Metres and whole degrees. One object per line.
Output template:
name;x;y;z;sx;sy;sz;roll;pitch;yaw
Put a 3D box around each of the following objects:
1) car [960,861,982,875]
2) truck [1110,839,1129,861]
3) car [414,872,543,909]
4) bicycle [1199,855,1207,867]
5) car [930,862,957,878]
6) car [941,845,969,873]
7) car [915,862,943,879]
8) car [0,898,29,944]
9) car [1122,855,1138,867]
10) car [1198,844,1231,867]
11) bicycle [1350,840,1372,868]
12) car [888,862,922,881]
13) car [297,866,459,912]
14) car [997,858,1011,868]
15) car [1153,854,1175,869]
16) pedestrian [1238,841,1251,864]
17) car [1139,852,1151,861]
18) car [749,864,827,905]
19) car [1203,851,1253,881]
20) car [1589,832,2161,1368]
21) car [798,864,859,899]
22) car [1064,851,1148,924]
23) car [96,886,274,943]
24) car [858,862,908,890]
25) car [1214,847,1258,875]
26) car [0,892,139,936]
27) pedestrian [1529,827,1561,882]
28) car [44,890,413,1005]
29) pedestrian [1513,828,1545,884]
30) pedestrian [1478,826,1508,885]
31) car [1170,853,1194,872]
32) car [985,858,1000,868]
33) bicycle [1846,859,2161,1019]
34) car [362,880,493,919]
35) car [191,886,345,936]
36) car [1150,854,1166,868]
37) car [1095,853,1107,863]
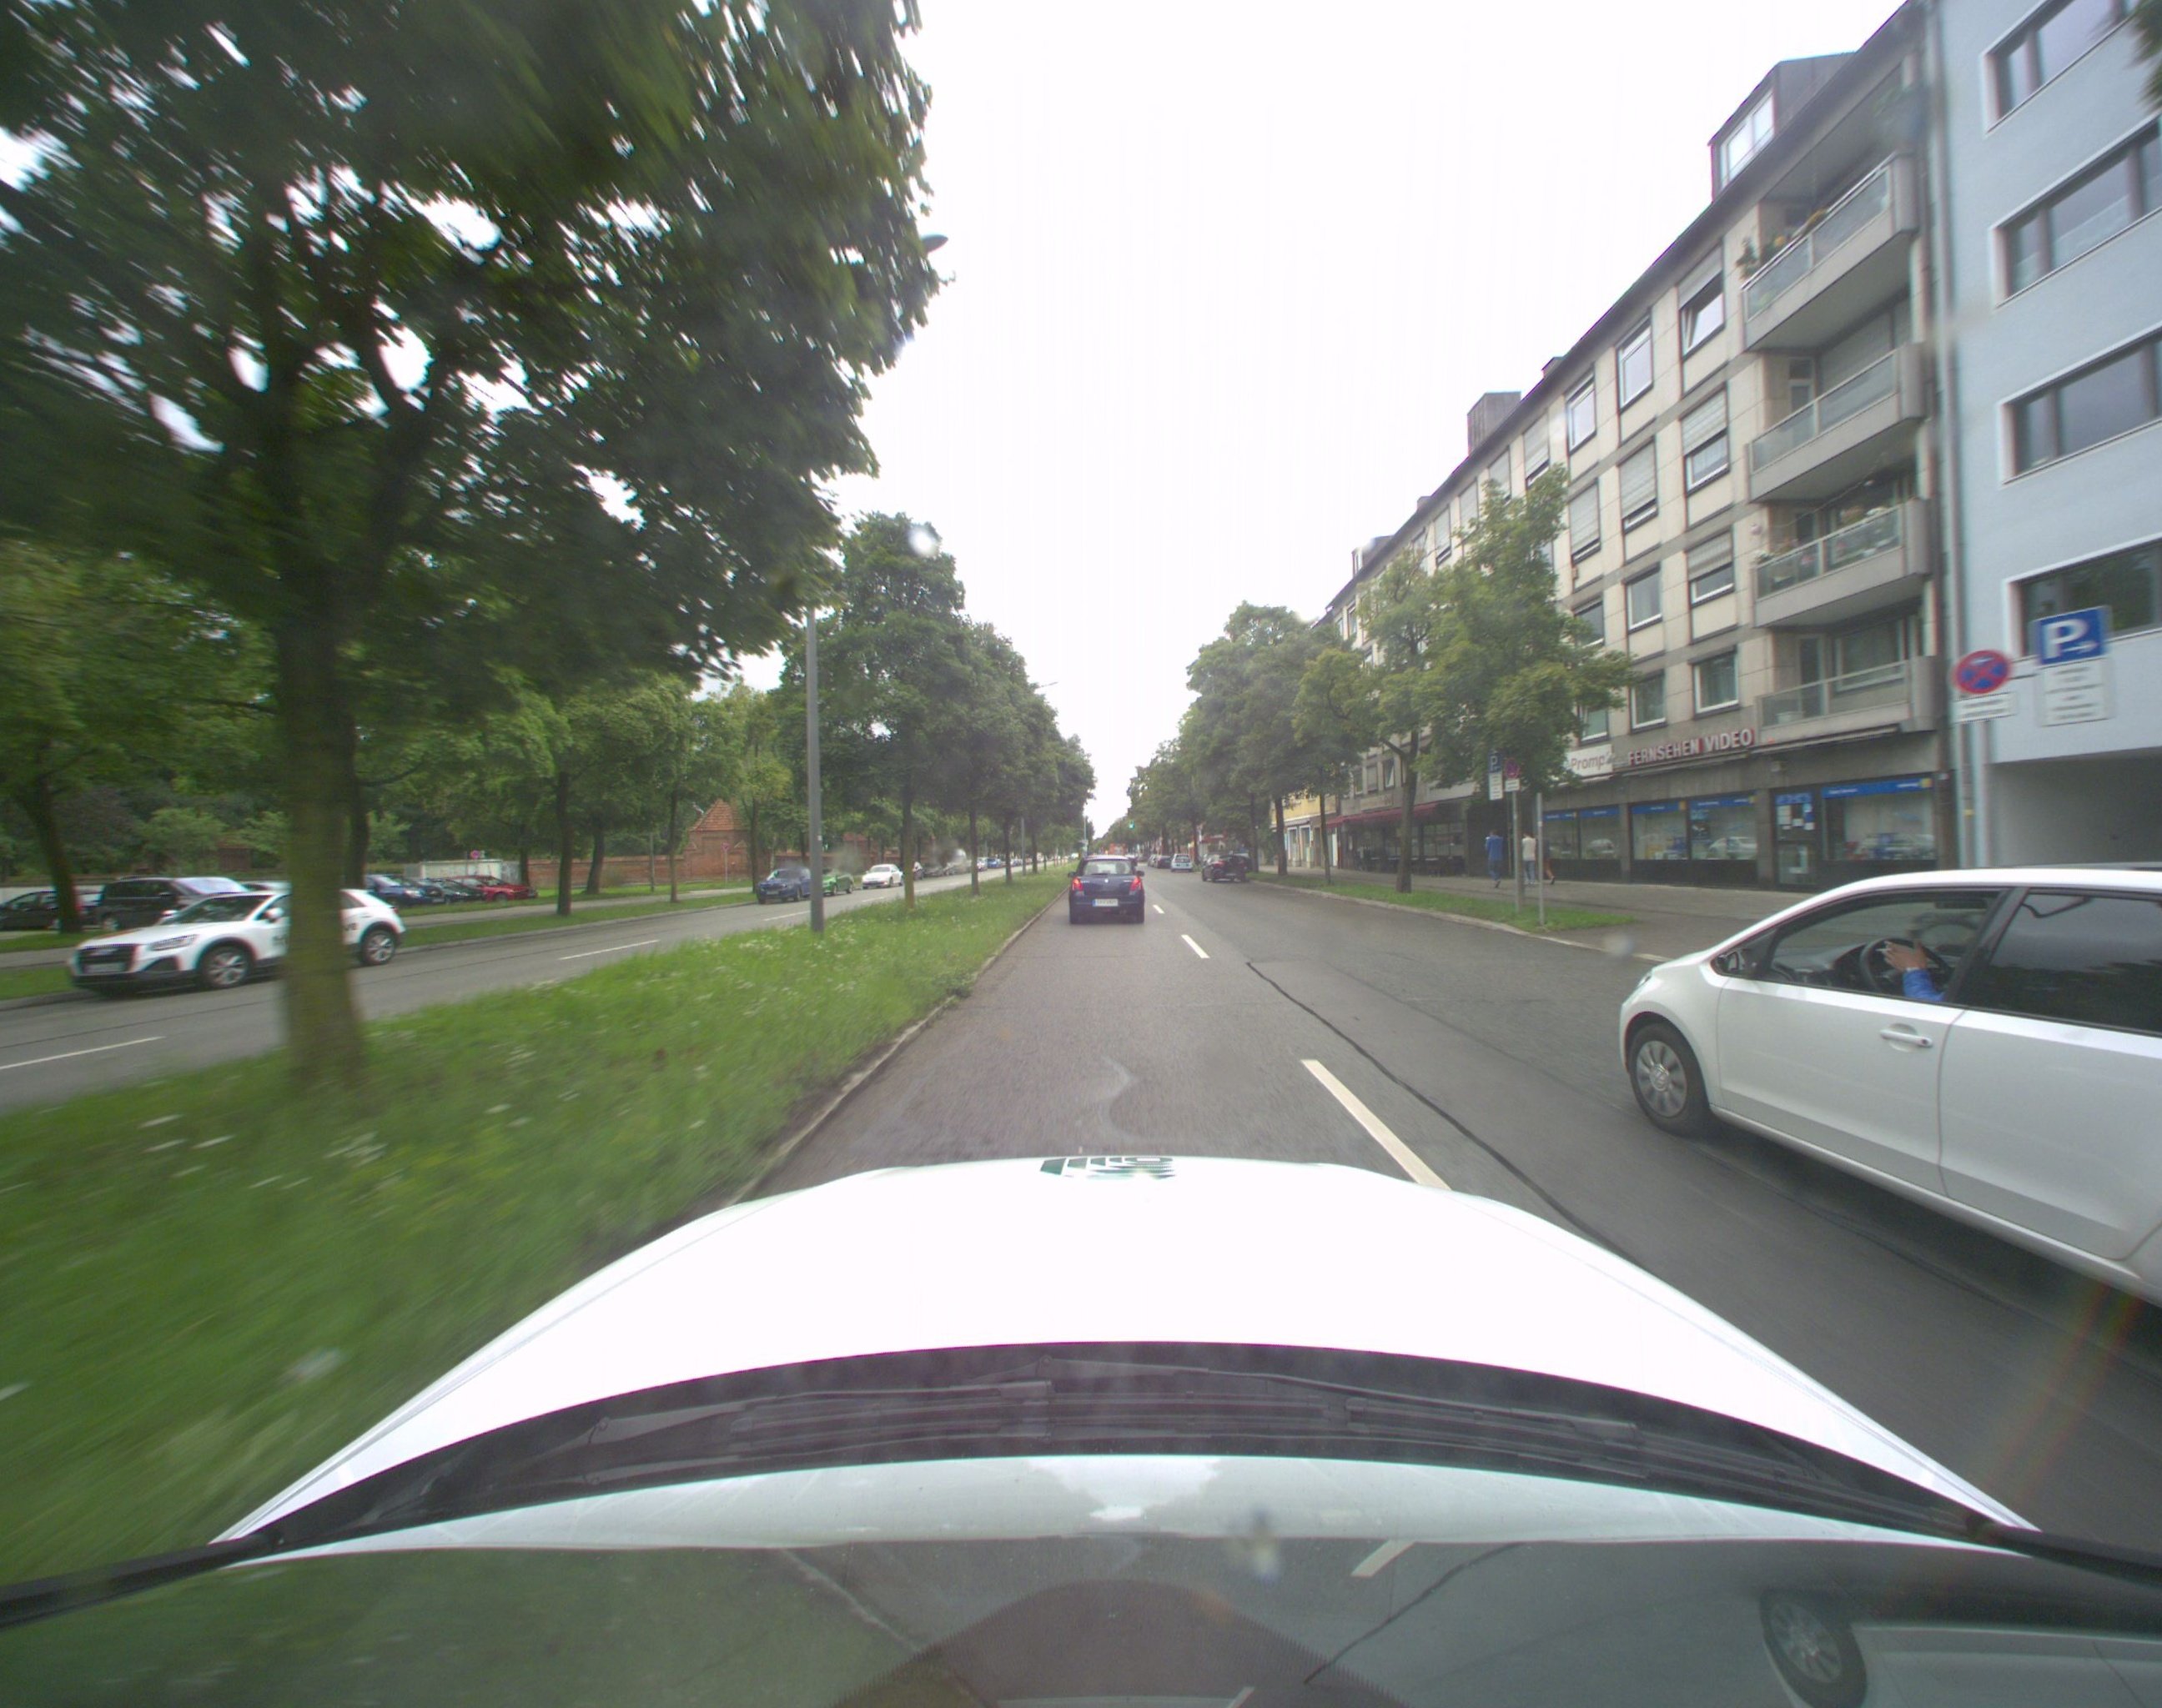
car;-13.718;1.721;101.957;2.179;1.736;4.576;-1;0;-1
truck;6.638;-0.652;140.828;3.029;3.557;13.682;-1;0;2
car;-26.782;1.610;36.273;4.397;1.392;1.760;-2;0;1
bicycle;10.166;0.601;67.940;0.446;0.980;1.799;-1;0;1
car;-14.067;1.609;83.535;1.807;1.536;4.819;-1;0;0
car;-13.937;0.540;90.295;2.179;2.953;6.188;-1;0;-1
car;-14.441;1.577;77.597;1.807;1.536;4.441;-1;0;0
car;-38.539;2.292;27.377;3.973;1.536;1.815;0;0;0
car;6.287;0.911;104.424;1.815;1.477;4.692;0;0;1
car;9.994;0.098;61.211;1.808;1.626;4.310;-3;0;2
bicycle;14.975;-0.015;43.581;0.578;1.463;1.689;-2;0;2
car;-14.657;1.440;67.995;1.807;1.536;4.298;-1;0;0
car;-26.569;1.305;30.894;4.334;1.505;2.000;-2;0;1
car;-13.114;1.571;138.891;1.795;1.534;4.001;-2;0;1
car;8.530;0.747;83.992;1.649;1.452;4.706;-2;0;-1
pedestrian;13.552;-0.151;67.545;0.790;1.855;0.776;-4;0;-2
car;11.742;0.433;150.055;1.986;1.530;4.001;-2;0;1
car;-13.095;1.329;36.663;1.881;1.537;4.313;-4;0;0
car;7.693;0.616;43.002;1.986;1.452;4.002;-2;0;2
car;3.870;0.676;3.209;1.680;1.490;3.436;0;0;2
car;-13.021;1.375;42.216;1.632;1.537;4.315;-4;0;1
car;0.617;0.714;19.388;1.746;1.505;4.002;-1;0;2
car;-27.451;1.837;24.992;3.958;1.505;2.008;-2;0;14
car;-12.685;1.392;52.394;1.753;1.537;4.319;-4;0;4
car;9.472;0.405;50.129;1.986;1.643;4.334;-2;0;2
car;-39.008;2.280;31.072;3.973;1.536;1.815;0;0;0
pedestrian;14.098;0.012;24.763;0.539;1.640;0.725;-2;0;1
car;-13.954;1.438;13.778;1.851;1.491;4.141;-1;-1;0
pedestrian;13.481;0.061;24.510;0.547;1.629;0.641;-3;0;1
pedestrian;12.421;0.034;24.579;0.498;1.733;0.733;-2;0;1
car;8.347;0.660;67.491;1.646;1.452;4.004;-2;0;4
car;-13.195;1.336;122.062;1.700;1.534;4.001;-2;0;1
bicycle;8.467;0.680;7.478;0.455;1.256;2.137;-2;0;-17
car;-27.032;1.860;33.779;3.962;1.392;1.760;-2;0;1
car;-28.153;1.972;28.247;3.958;1.505;2.008;-2;0;14
car;8.909;0.778;94.135;1.688;1.452;4.126;-2;0;3
car;3.139;0.634;127.217;1.712;1.500;4.301;-1;0;1
